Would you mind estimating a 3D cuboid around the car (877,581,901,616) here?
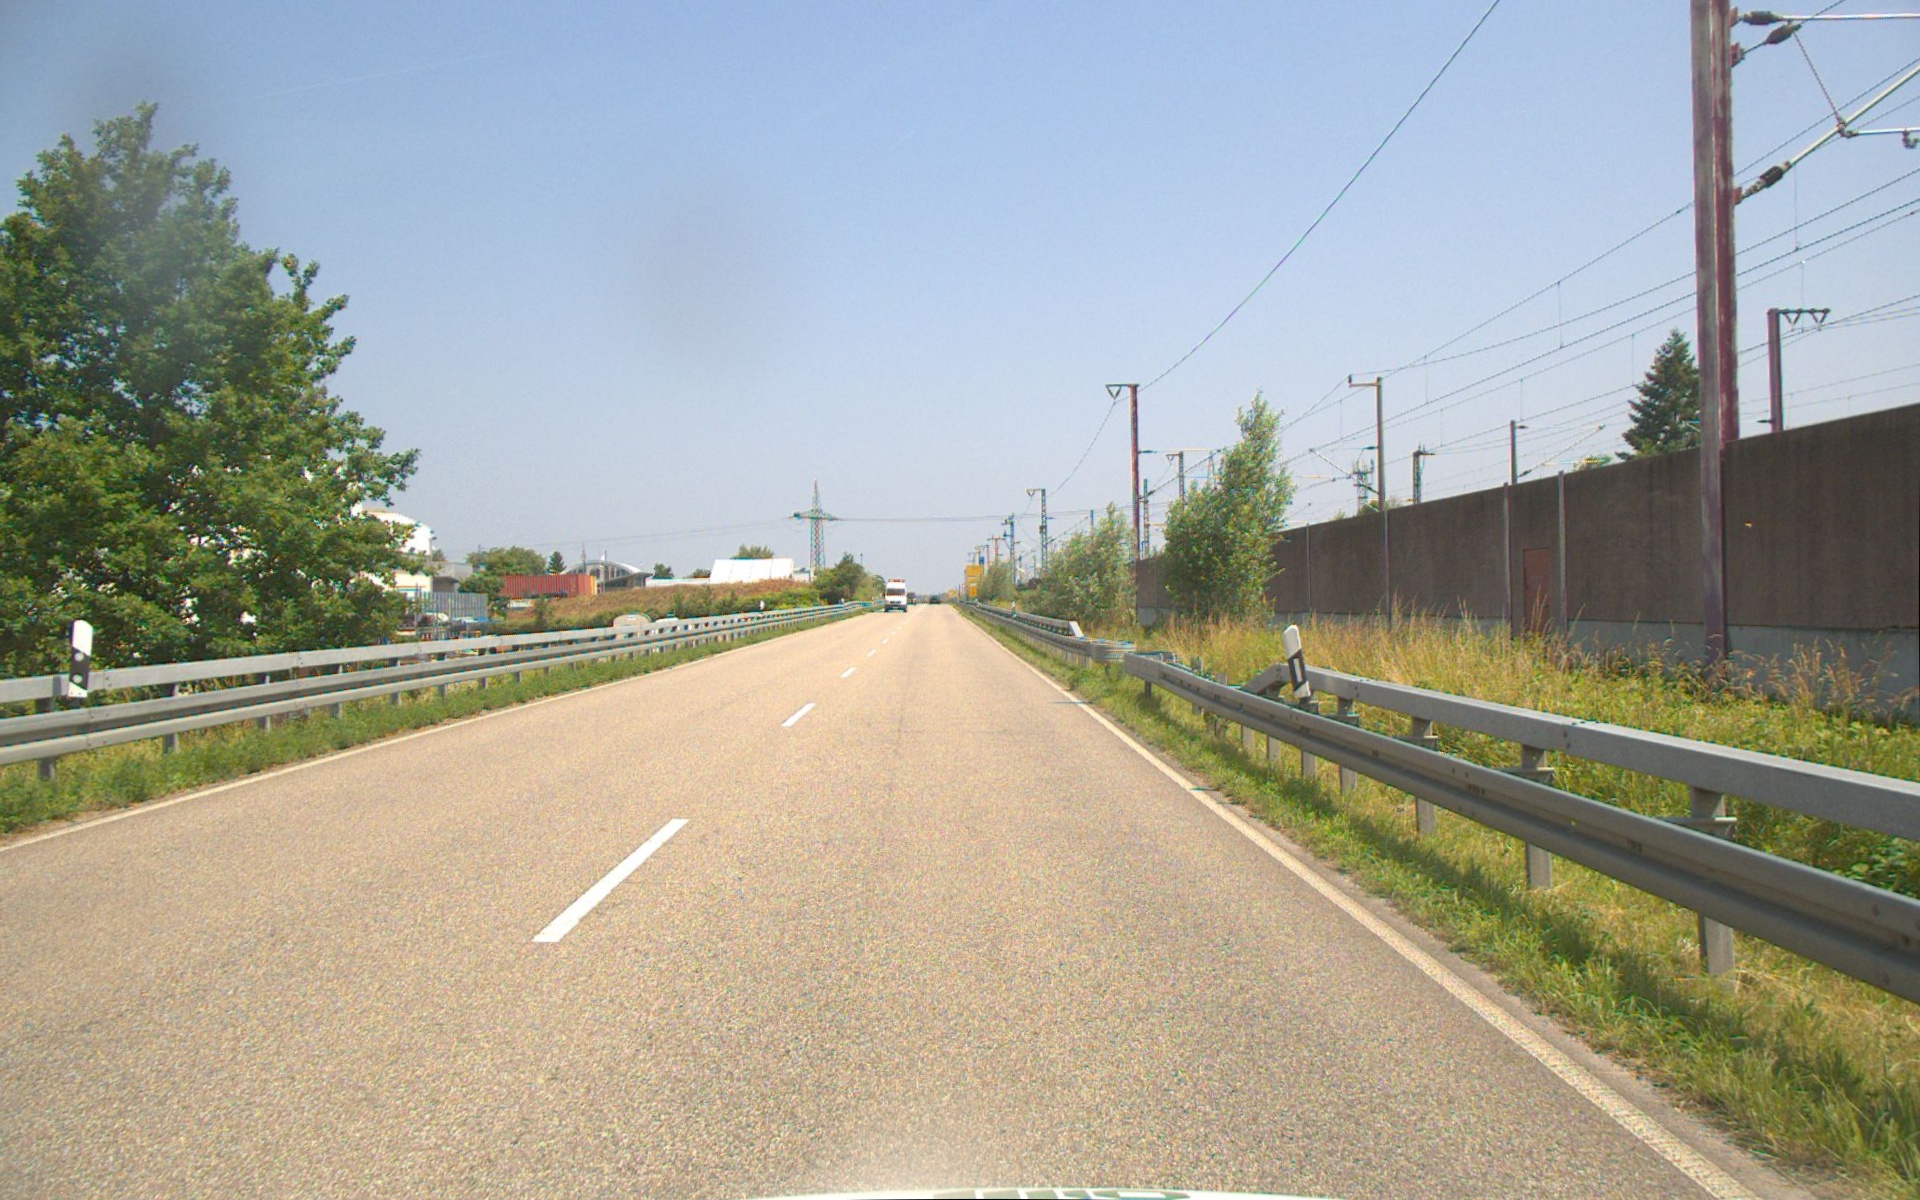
[{"bbox_3d":[-6.312,-0.146,147.569,2.037,3.014,6.728,1,0,-1],"label":"car"}]
